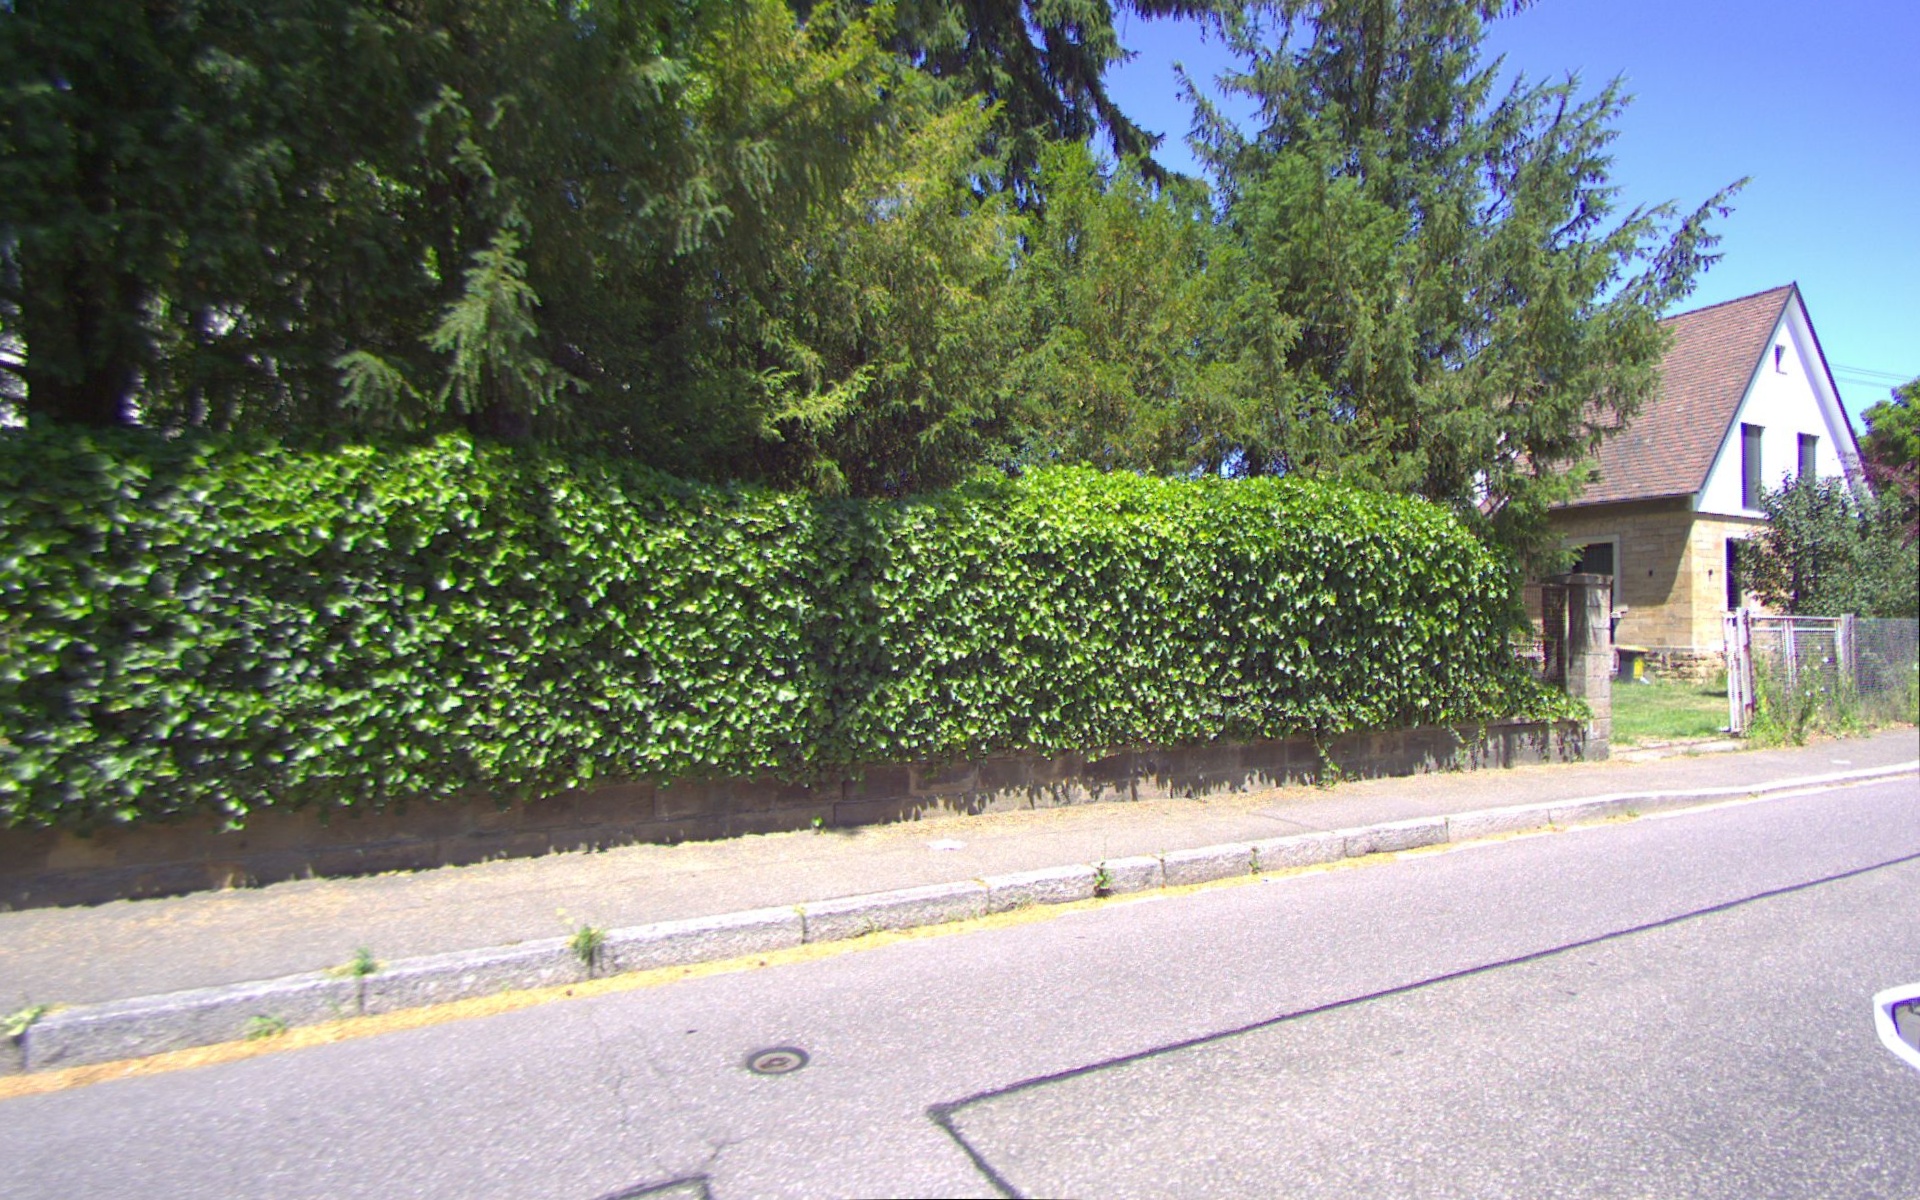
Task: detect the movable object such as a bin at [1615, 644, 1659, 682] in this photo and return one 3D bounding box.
[{"bbox_3d":[15.729,1.458,23.347,0.714,0.839,0.564,1,0,-25],"label":"movable object such as a bin"}]
